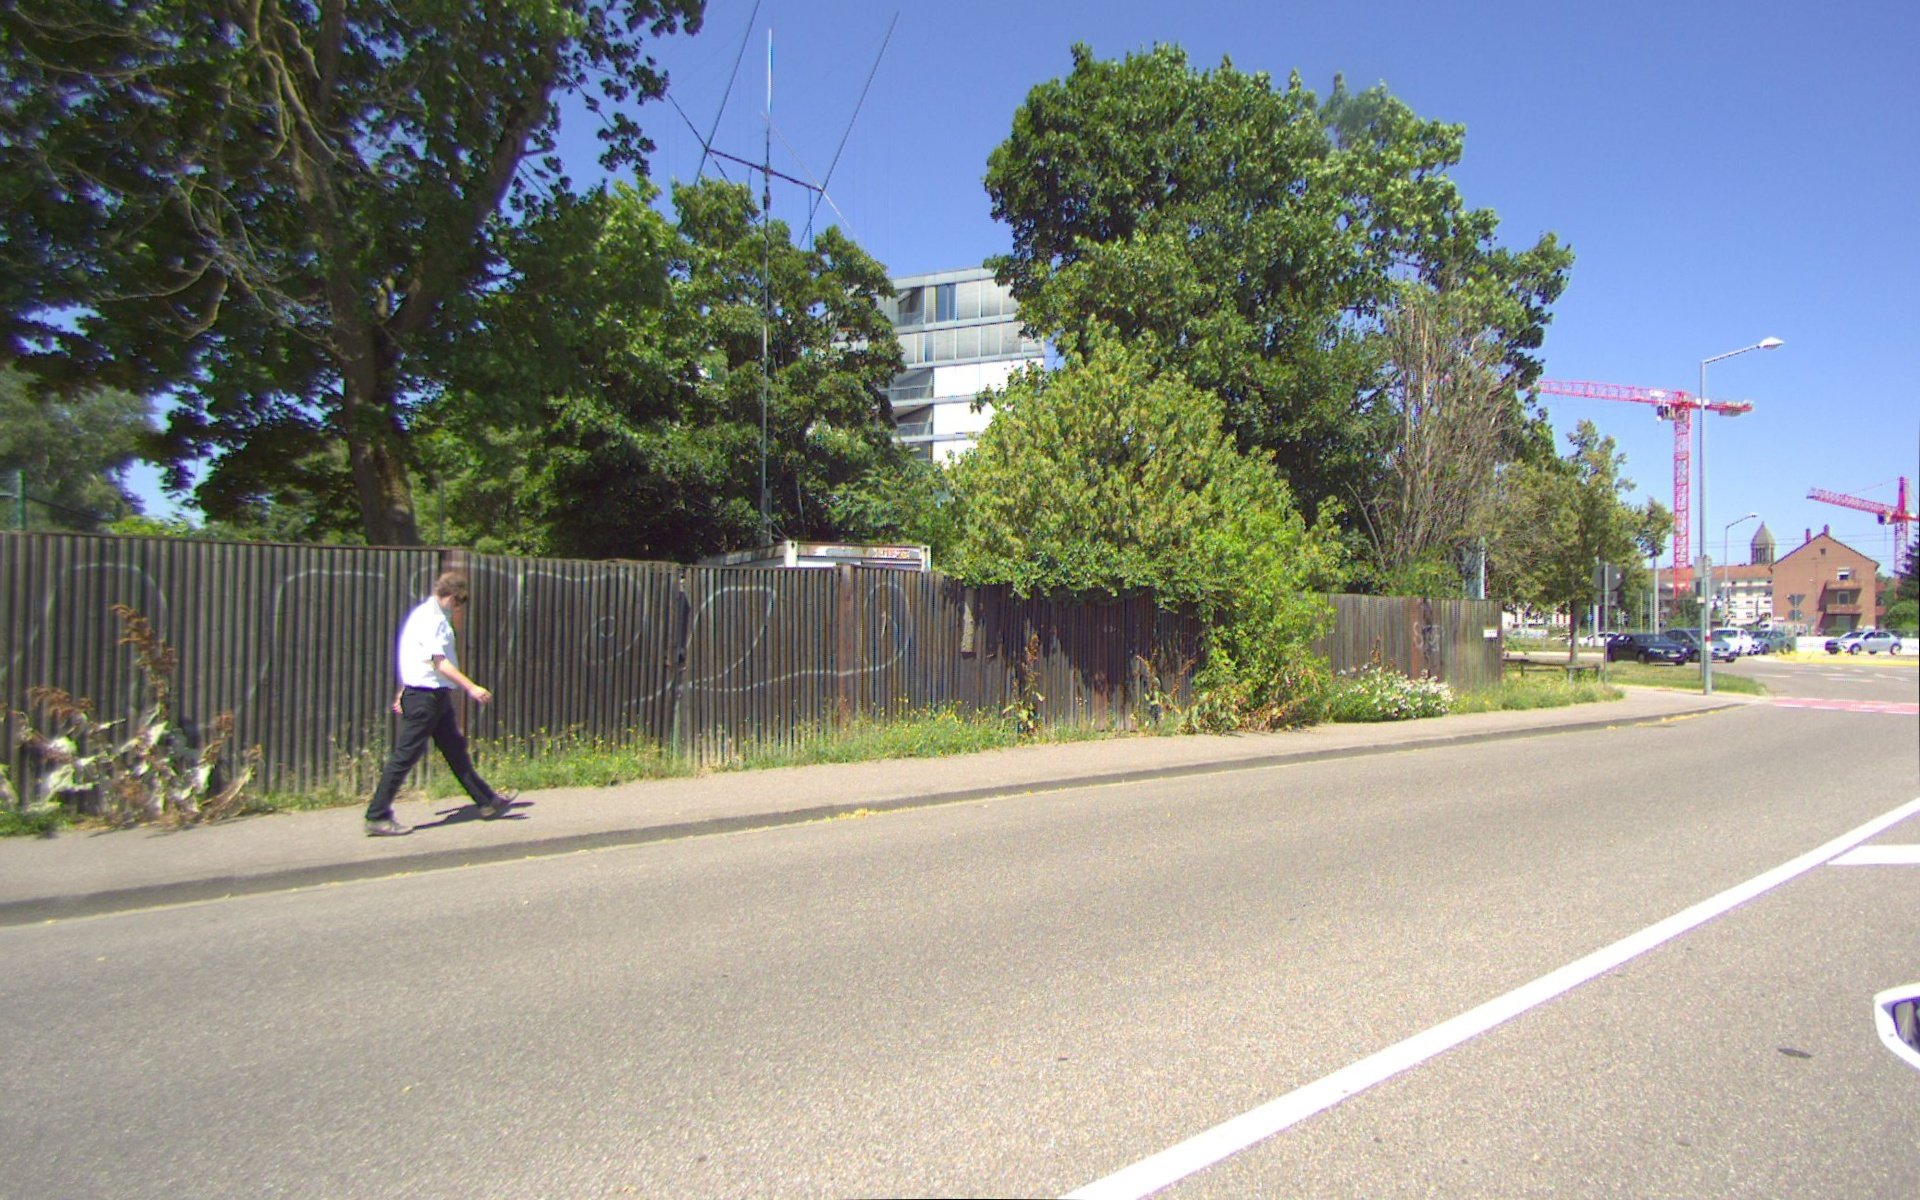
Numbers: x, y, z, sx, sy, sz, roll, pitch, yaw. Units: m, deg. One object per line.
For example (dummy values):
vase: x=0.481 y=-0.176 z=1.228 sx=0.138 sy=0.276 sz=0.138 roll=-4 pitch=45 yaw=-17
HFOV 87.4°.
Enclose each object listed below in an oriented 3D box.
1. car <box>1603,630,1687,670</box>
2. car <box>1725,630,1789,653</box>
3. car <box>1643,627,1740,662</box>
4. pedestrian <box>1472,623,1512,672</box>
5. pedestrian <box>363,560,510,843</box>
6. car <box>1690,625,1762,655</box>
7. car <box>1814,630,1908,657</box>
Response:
car: x=31.153 y=2.224 z=45.808 sx=1.701 sy=1.641 sz=4.015 roll=1 pitch=-1 yaw=11
car: x=46.556 y=2.432 z=58.672 sx=3.742 sy=1.253 sz=1.699 roll=2 pitch=-1 yaw=-30
car: x=35.507 y=2.131 z=48.895 sx=1.765 sy=1.516 sz=4.000 roll=1 pitch=-1 yaw=-1
pedestrian: x=17.424 y=1.550 z=32.914 sx=0.796 sy=1.584 sz=0.876 roll=1 pitch=0 yaw=-7
pedestrian: x=-3.652 y=0.672 z=7.021 sx=0.841 sy=1.849 sz=0.589 roll=1 pitch=0 yaw=-30
car: x=42.211 y=2.221 z=55.342 sx=3.953 sy=1.570 sz=1.748 roll=2 pitch=-1 yaw=-30
car: x=55.608 y=2.679 z=62.055 sx=4.136 sy=1.520 sz=1.713 roll=1 pitch=0 yaw=3
